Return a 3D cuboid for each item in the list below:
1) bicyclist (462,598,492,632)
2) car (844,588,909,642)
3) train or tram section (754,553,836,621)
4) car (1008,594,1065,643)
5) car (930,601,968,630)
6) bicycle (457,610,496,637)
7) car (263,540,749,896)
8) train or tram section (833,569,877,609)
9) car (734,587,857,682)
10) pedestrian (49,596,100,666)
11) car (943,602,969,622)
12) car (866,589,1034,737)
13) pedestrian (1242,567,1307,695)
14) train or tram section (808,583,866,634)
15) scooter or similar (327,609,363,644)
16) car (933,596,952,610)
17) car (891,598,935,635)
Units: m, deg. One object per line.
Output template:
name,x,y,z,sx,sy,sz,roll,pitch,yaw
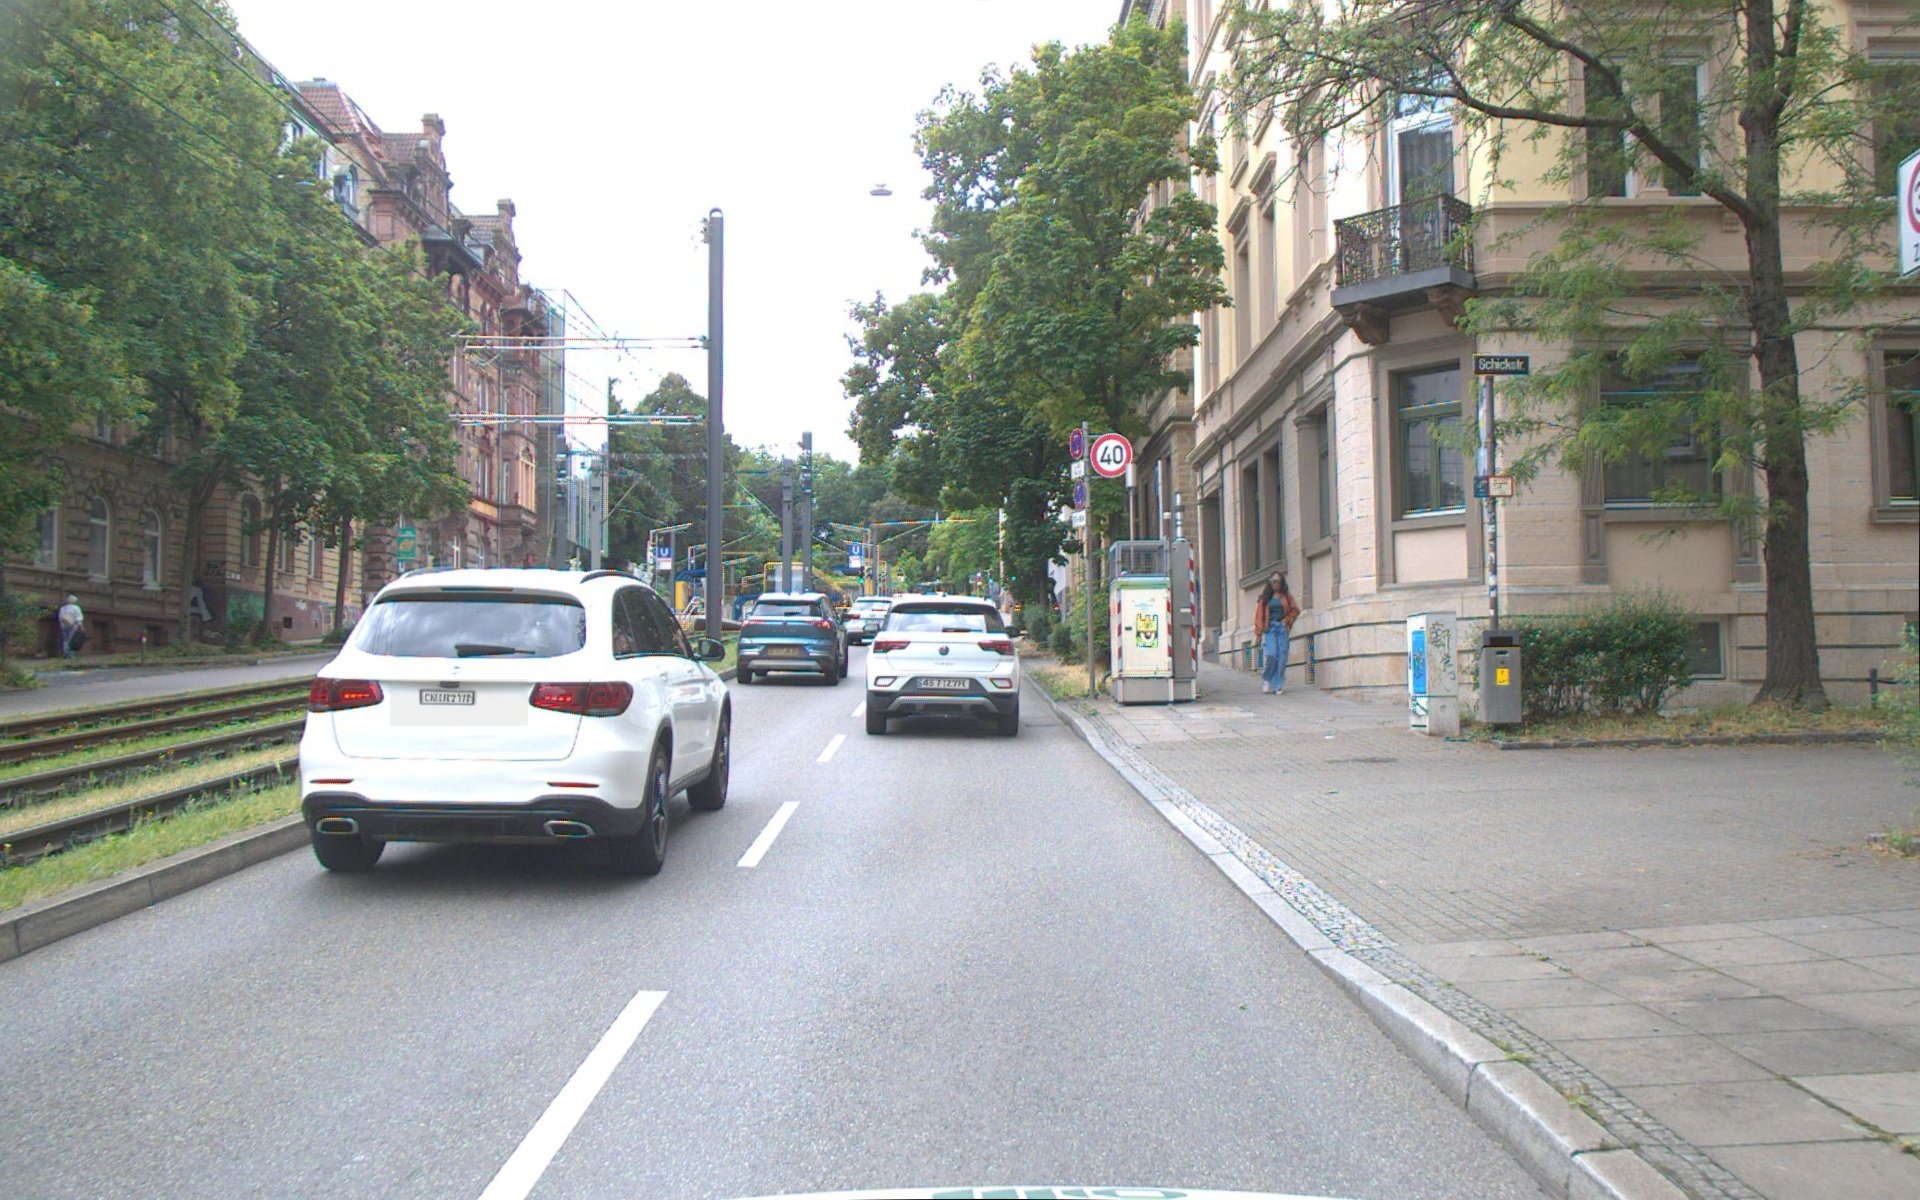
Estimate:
bicyclist,-20.748,0.649,71.045,0.919,1.450,1.188,0,0,-1
car,-2.542,0.463,51.322,1.798,1.573,4.193,1,0,0
train or tram section,-8.759,-0.613,89.380,2.934,3.407,13.438,0,0,0
car,2.719,0.648,59.799,1.798,1.629,4.193,-2,0,0
car,-0.593,0.842,91.981,2.026,1.573,4.193,1,0,0
bicycle,-20.750,1.013,71.000,0.919,1.119,2.702,-1,0,-1
car,-2.491,0.585,10.351,1.798,1.696,4.669,1,0,-1
train or tram section,-9.195,-0.881,146.585,2.934,3.407,13.438,0,0,0
car,-2.895,0.594,29.941,1.798,1.573,4.193,1,0,0
pedestrian,-22.174,0.773,41.415,0.814,1.714,0.848,-1,0,-2
car,-0.314,0.977,133.463,2.026,1.573,4.193,1,0,0
car,-0.157,0.695,20.004,1.798,1.573,4.192,1,0,-2
pedestrian,4.298,0.411,22.665,0.695,1.691,1.127,-1,0,1
train or tram section,-8.540,0.589,116.421,2.934,3.407,13.438,0,0,0
scooter or similar,-22.781,0.966,61.314,0.616,1.277,2.214,0,0,-3
car,-1.926,0.352,185.553,2.026,1.573,4.193,1,0,0
car,-2.033,0.713,72.728,1.798,1.573,4.193,1,0,0
